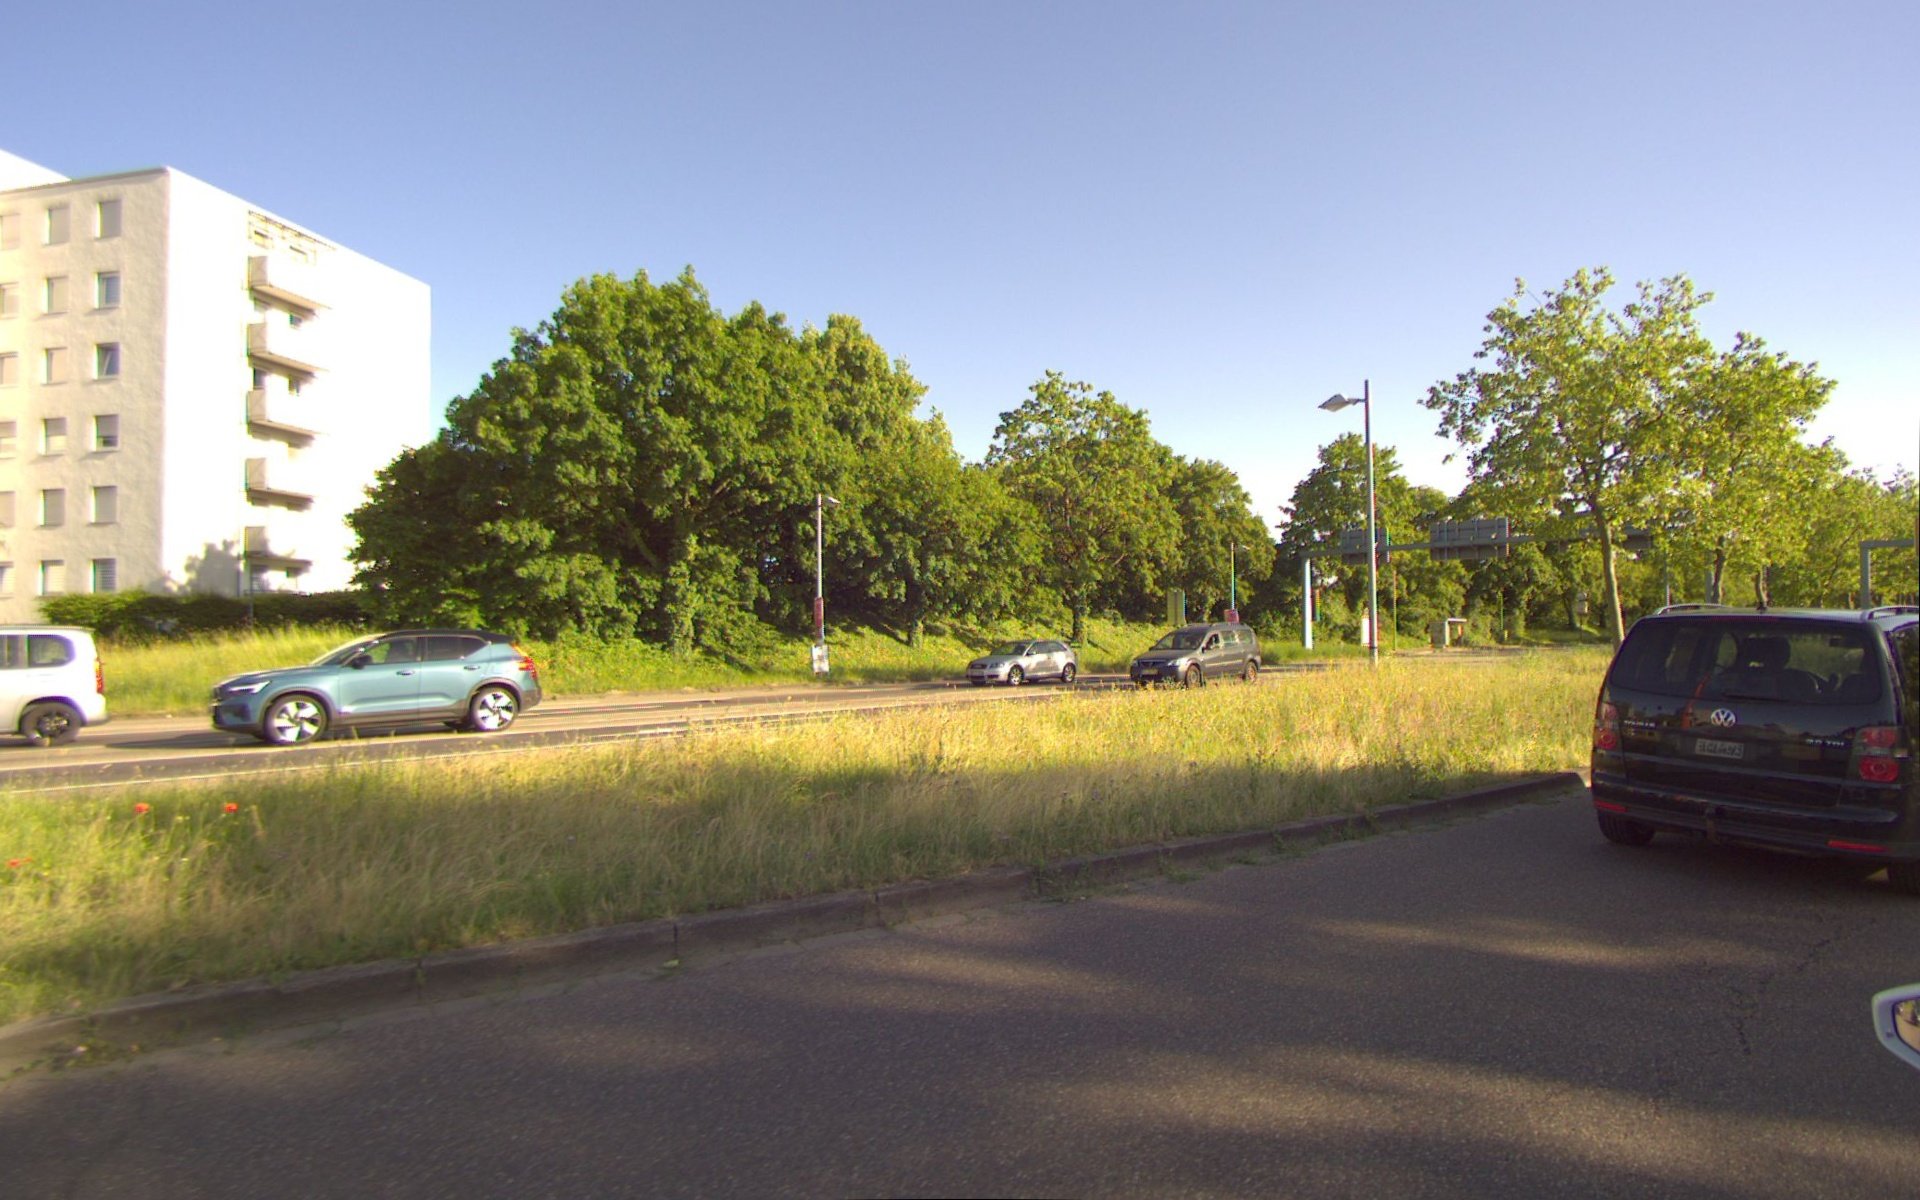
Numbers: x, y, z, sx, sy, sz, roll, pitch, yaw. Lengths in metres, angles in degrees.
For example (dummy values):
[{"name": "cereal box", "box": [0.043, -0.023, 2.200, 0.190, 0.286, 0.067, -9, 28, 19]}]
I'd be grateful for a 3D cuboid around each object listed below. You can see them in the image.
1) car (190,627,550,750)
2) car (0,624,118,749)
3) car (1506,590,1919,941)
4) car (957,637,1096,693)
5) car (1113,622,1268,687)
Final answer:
[{"name": "car", "box": [-9.001, 1.260, 15.612, 4.536, 1.631, 1.880, 1, -4, -45]}, {"name": "car", "box": [-15.150, 1.279, 14.529, 4.418, 1.798, 1.880, 1, -4, -45]}, {"name": "car", "box": [5.875, 0.830, 6.935, 4.874, 1.666, 1.756, 1, -1, -36]}, {"name": "car", "box": [2.170, 2.015, 31.921, 4.536, 1.631, 1.880, 1, -4, -45]}, {"name": "car", "box": [6.200, 1.406, 26.733, 4.536, 1.585, 1.880, 1, -4, -45]}]
